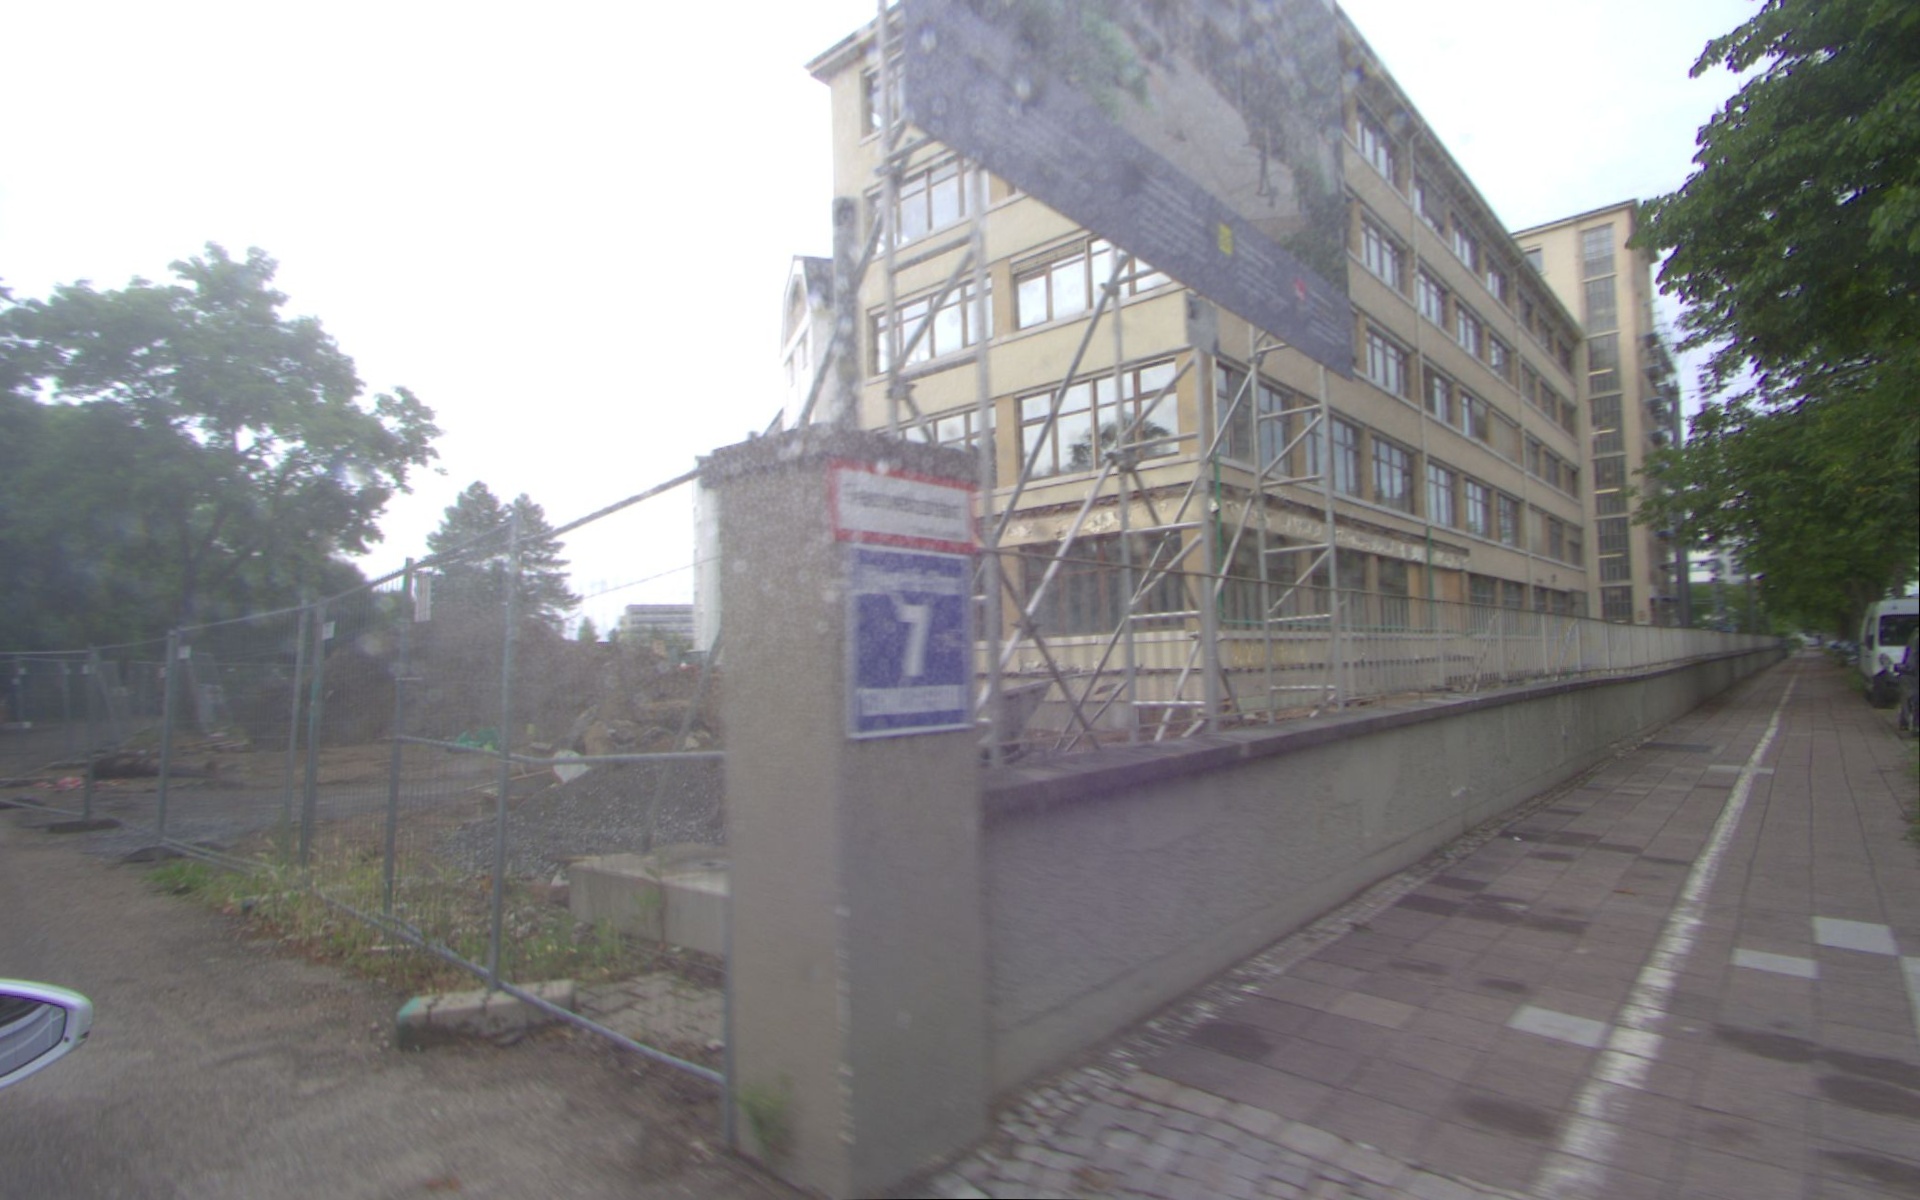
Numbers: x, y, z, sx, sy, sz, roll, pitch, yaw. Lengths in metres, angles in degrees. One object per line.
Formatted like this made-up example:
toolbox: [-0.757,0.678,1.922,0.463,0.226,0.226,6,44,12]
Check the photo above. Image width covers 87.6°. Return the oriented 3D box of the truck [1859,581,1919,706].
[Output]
truck: [22.157,0.982,22.949,2.096,2.634,5.449,-3,-4,41]

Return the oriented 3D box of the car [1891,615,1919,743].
car: [15.618,1.161,15.432,1.640,1.835,4.053,-1,-2,40]

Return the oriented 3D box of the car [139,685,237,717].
car: [-40.825,5.324,53.047,3.647,1.519,1.865,0,-3,-19]

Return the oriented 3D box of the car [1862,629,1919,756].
car: [22.041,1.991,22.720,2.097,2.633,5.449,-5,-5,41]
